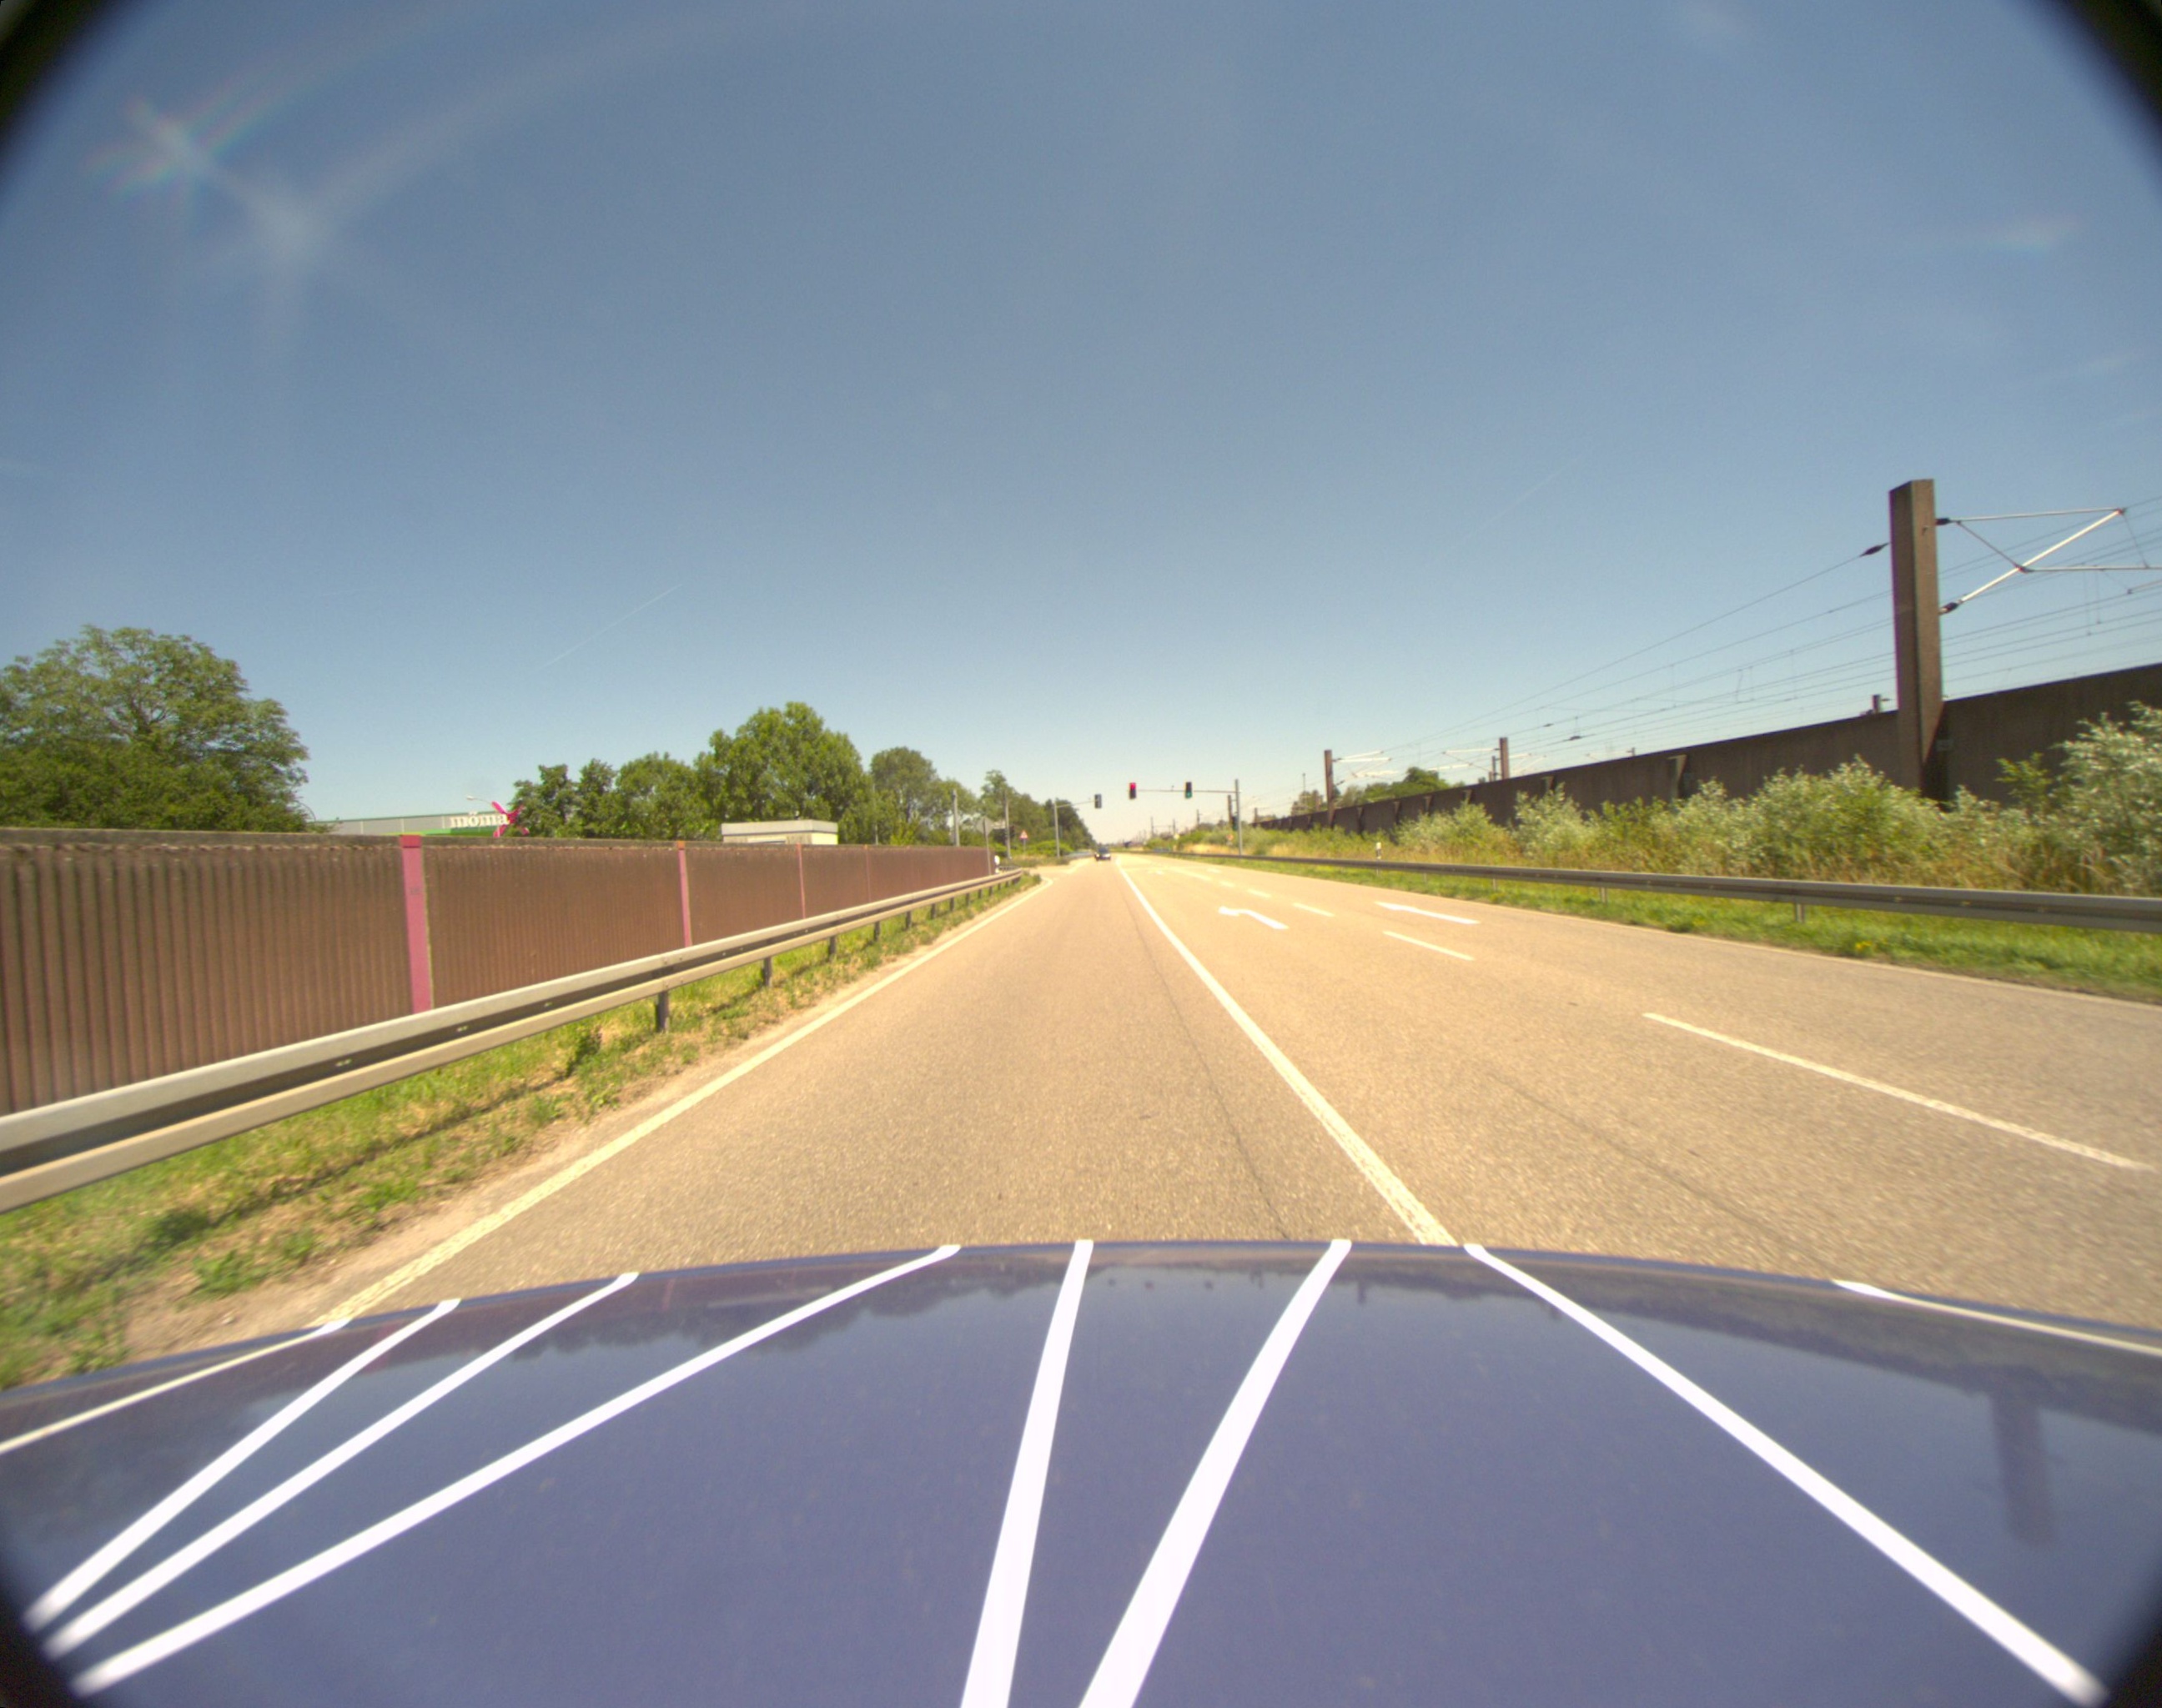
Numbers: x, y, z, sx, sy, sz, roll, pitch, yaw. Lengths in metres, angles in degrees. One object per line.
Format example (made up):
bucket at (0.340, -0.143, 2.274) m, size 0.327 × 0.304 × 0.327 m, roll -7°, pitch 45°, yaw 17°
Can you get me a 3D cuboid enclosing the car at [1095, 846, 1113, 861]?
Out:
car at (2.813, -0.058, 93.212) m, size 1.998 × 1.718 × 3.999 m, roll -2°, pitch 1°, yaw 1°
